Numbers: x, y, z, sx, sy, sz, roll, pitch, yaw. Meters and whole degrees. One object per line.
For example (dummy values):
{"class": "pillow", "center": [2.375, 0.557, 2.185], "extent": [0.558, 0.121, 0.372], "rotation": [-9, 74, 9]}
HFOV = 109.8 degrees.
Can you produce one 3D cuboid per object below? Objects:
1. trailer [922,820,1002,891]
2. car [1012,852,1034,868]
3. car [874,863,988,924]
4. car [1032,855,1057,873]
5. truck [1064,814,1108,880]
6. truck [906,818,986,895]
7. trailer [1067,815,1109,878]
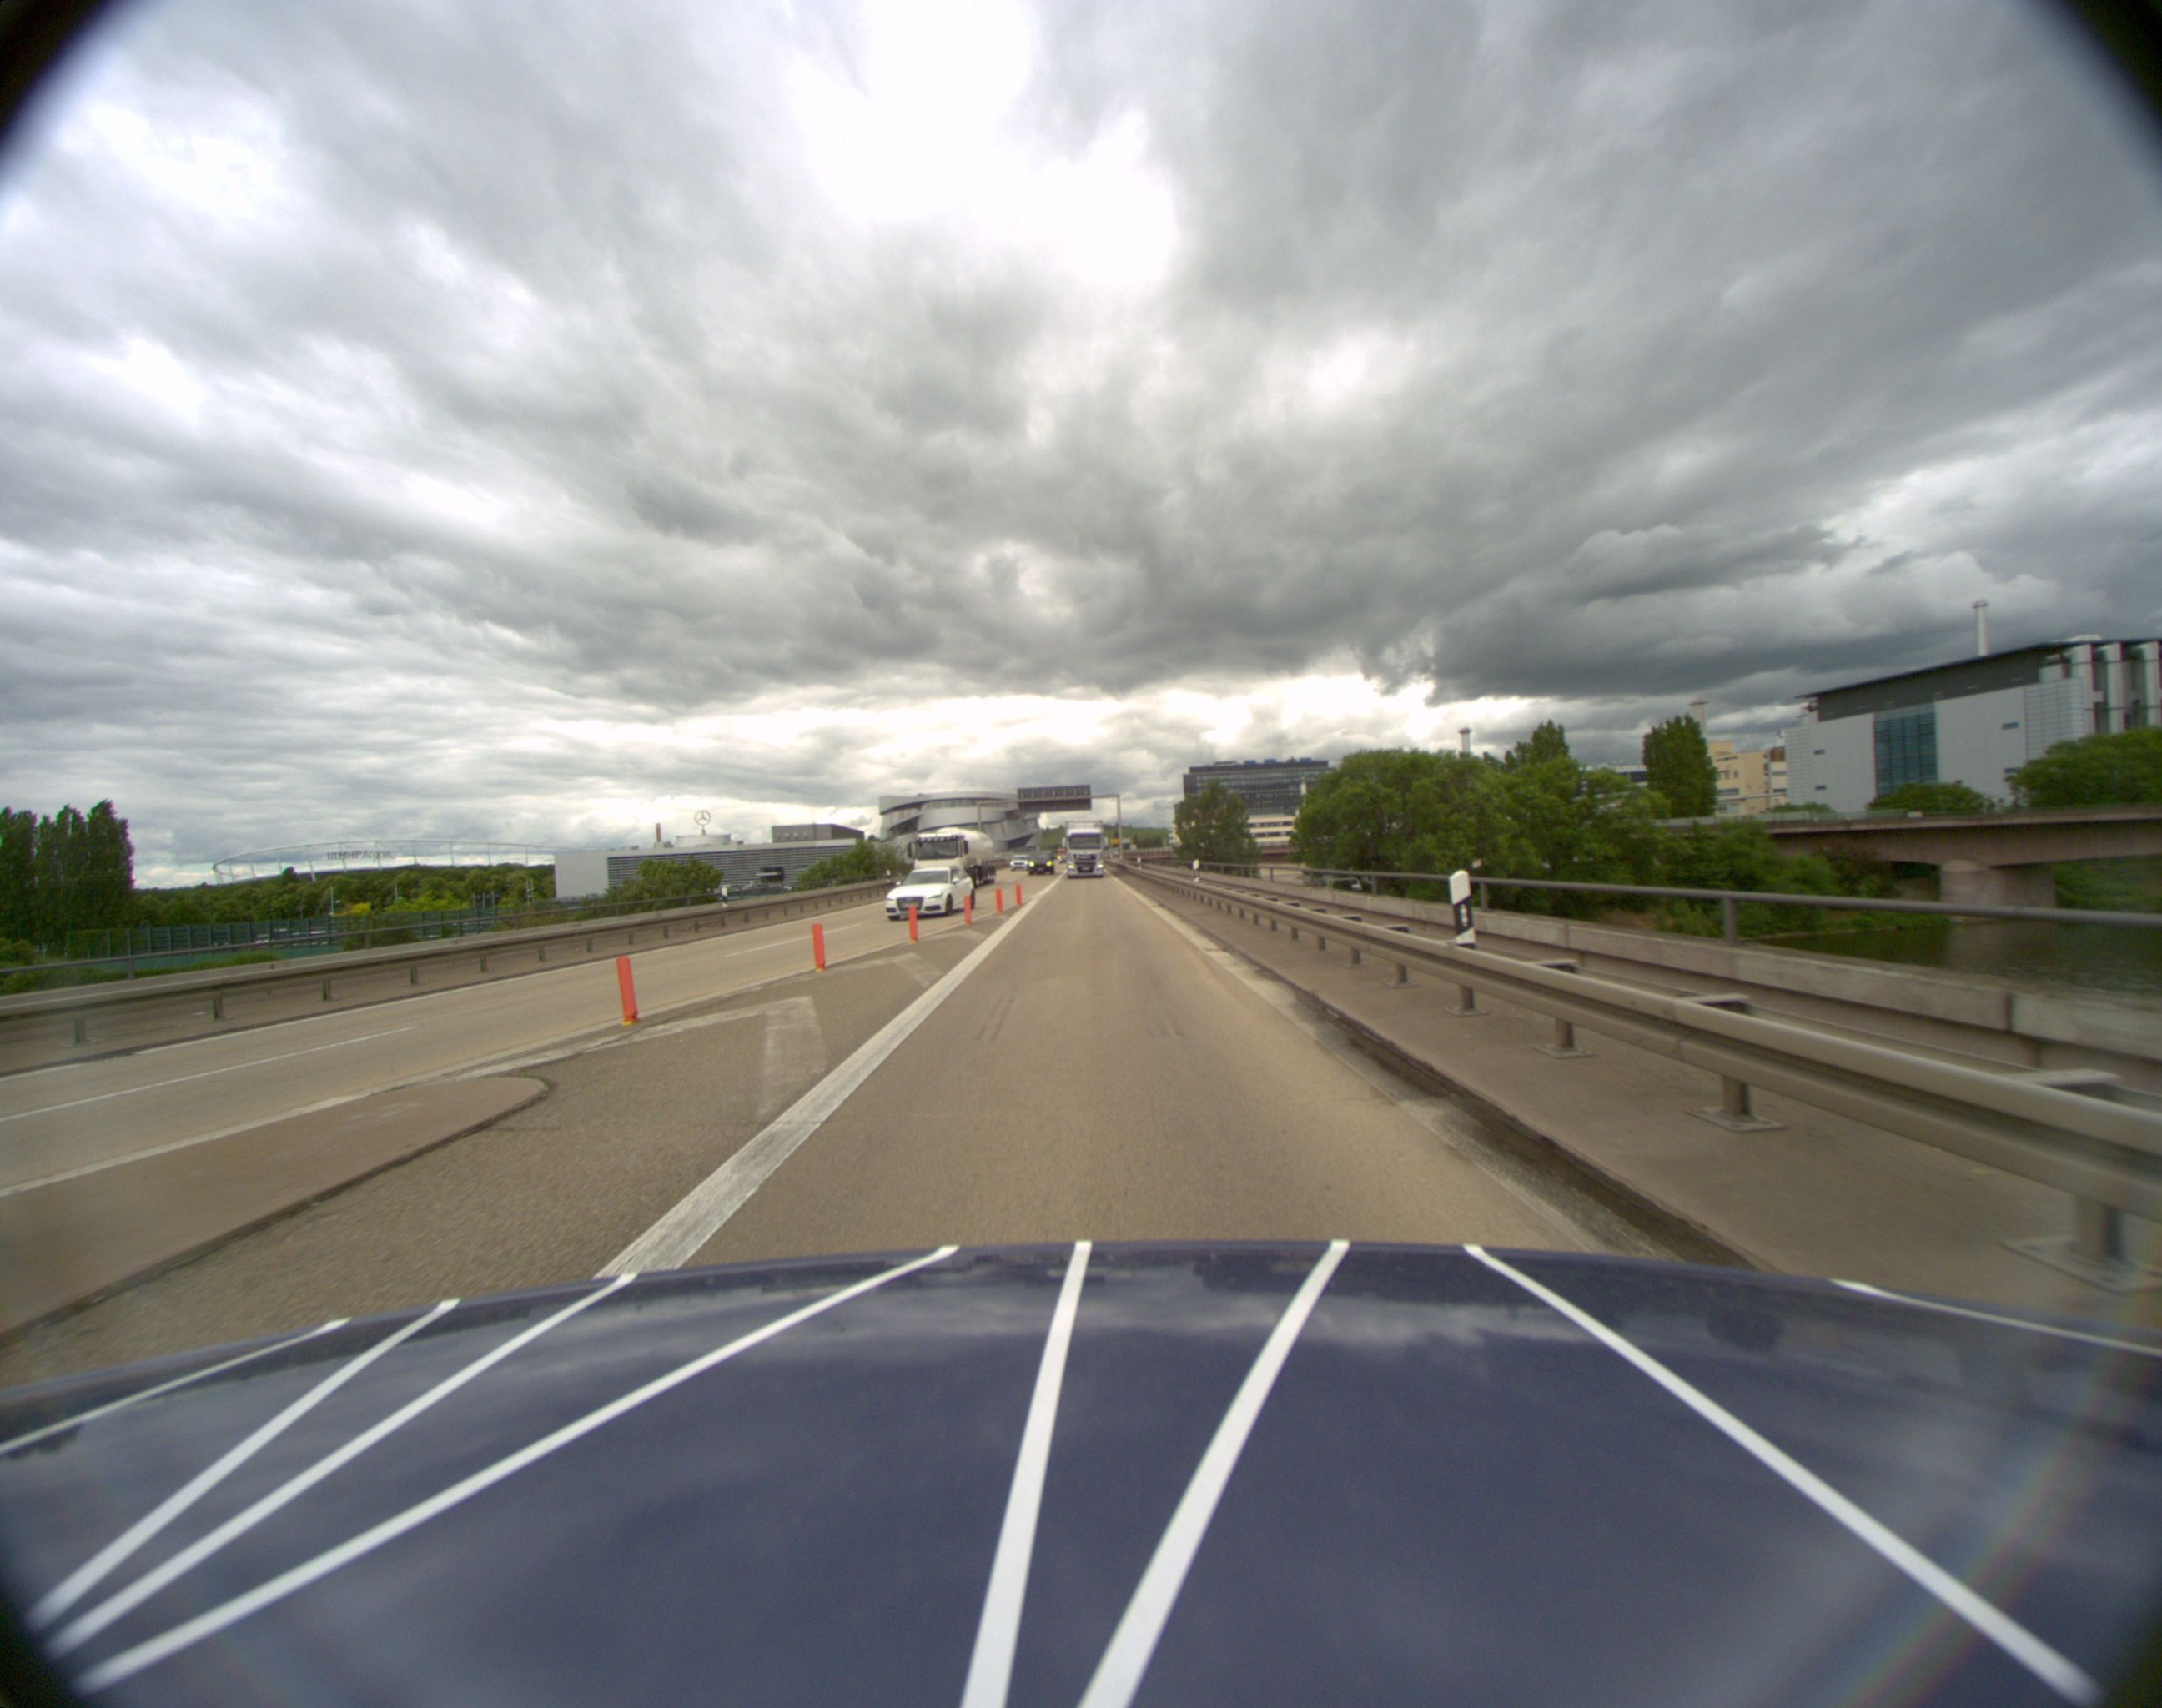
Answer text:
{"class": "trailer", "center": [-6.790, 0.031, 45.323], "extent": [2.747, 3.629, 11.004], "rotation": [-2, 1, 1]}
{"class": "car", "center": [-6.119, 0.623, 80.986], "extent": [1.928, 1.506, 3.801], "rotation": [-2, 1, 1]}
{"class": "car", "center": [-4.358, 1.108, 22.772], "extent": [1.787, 1.401, 3.938], "rotation": [-6, 0, 13]}
{"class": "car", "center": [-2.974, 0.815, 63.253], "extent": [1.789, 1.401, 3.801], "rotation": [-2, 1, 1]}
{"class": "truck", "center": [0.448, -0.506, 52.835], "extent": [2.734, 4.204, 6.200], "rotation": [-2, 1, 2]}
{"class": "truck", "center": [-6.896, 0.072, 39.757], "extent": [2.734, 3.625, 6.201], "rotation": [-2, 1, 2]}
{"class": "trailer", "center": [0.677, -0.615, 59.105], "extent": [2.747, 4.213, 13.447], "rotation": [-2, 1, 2]}
